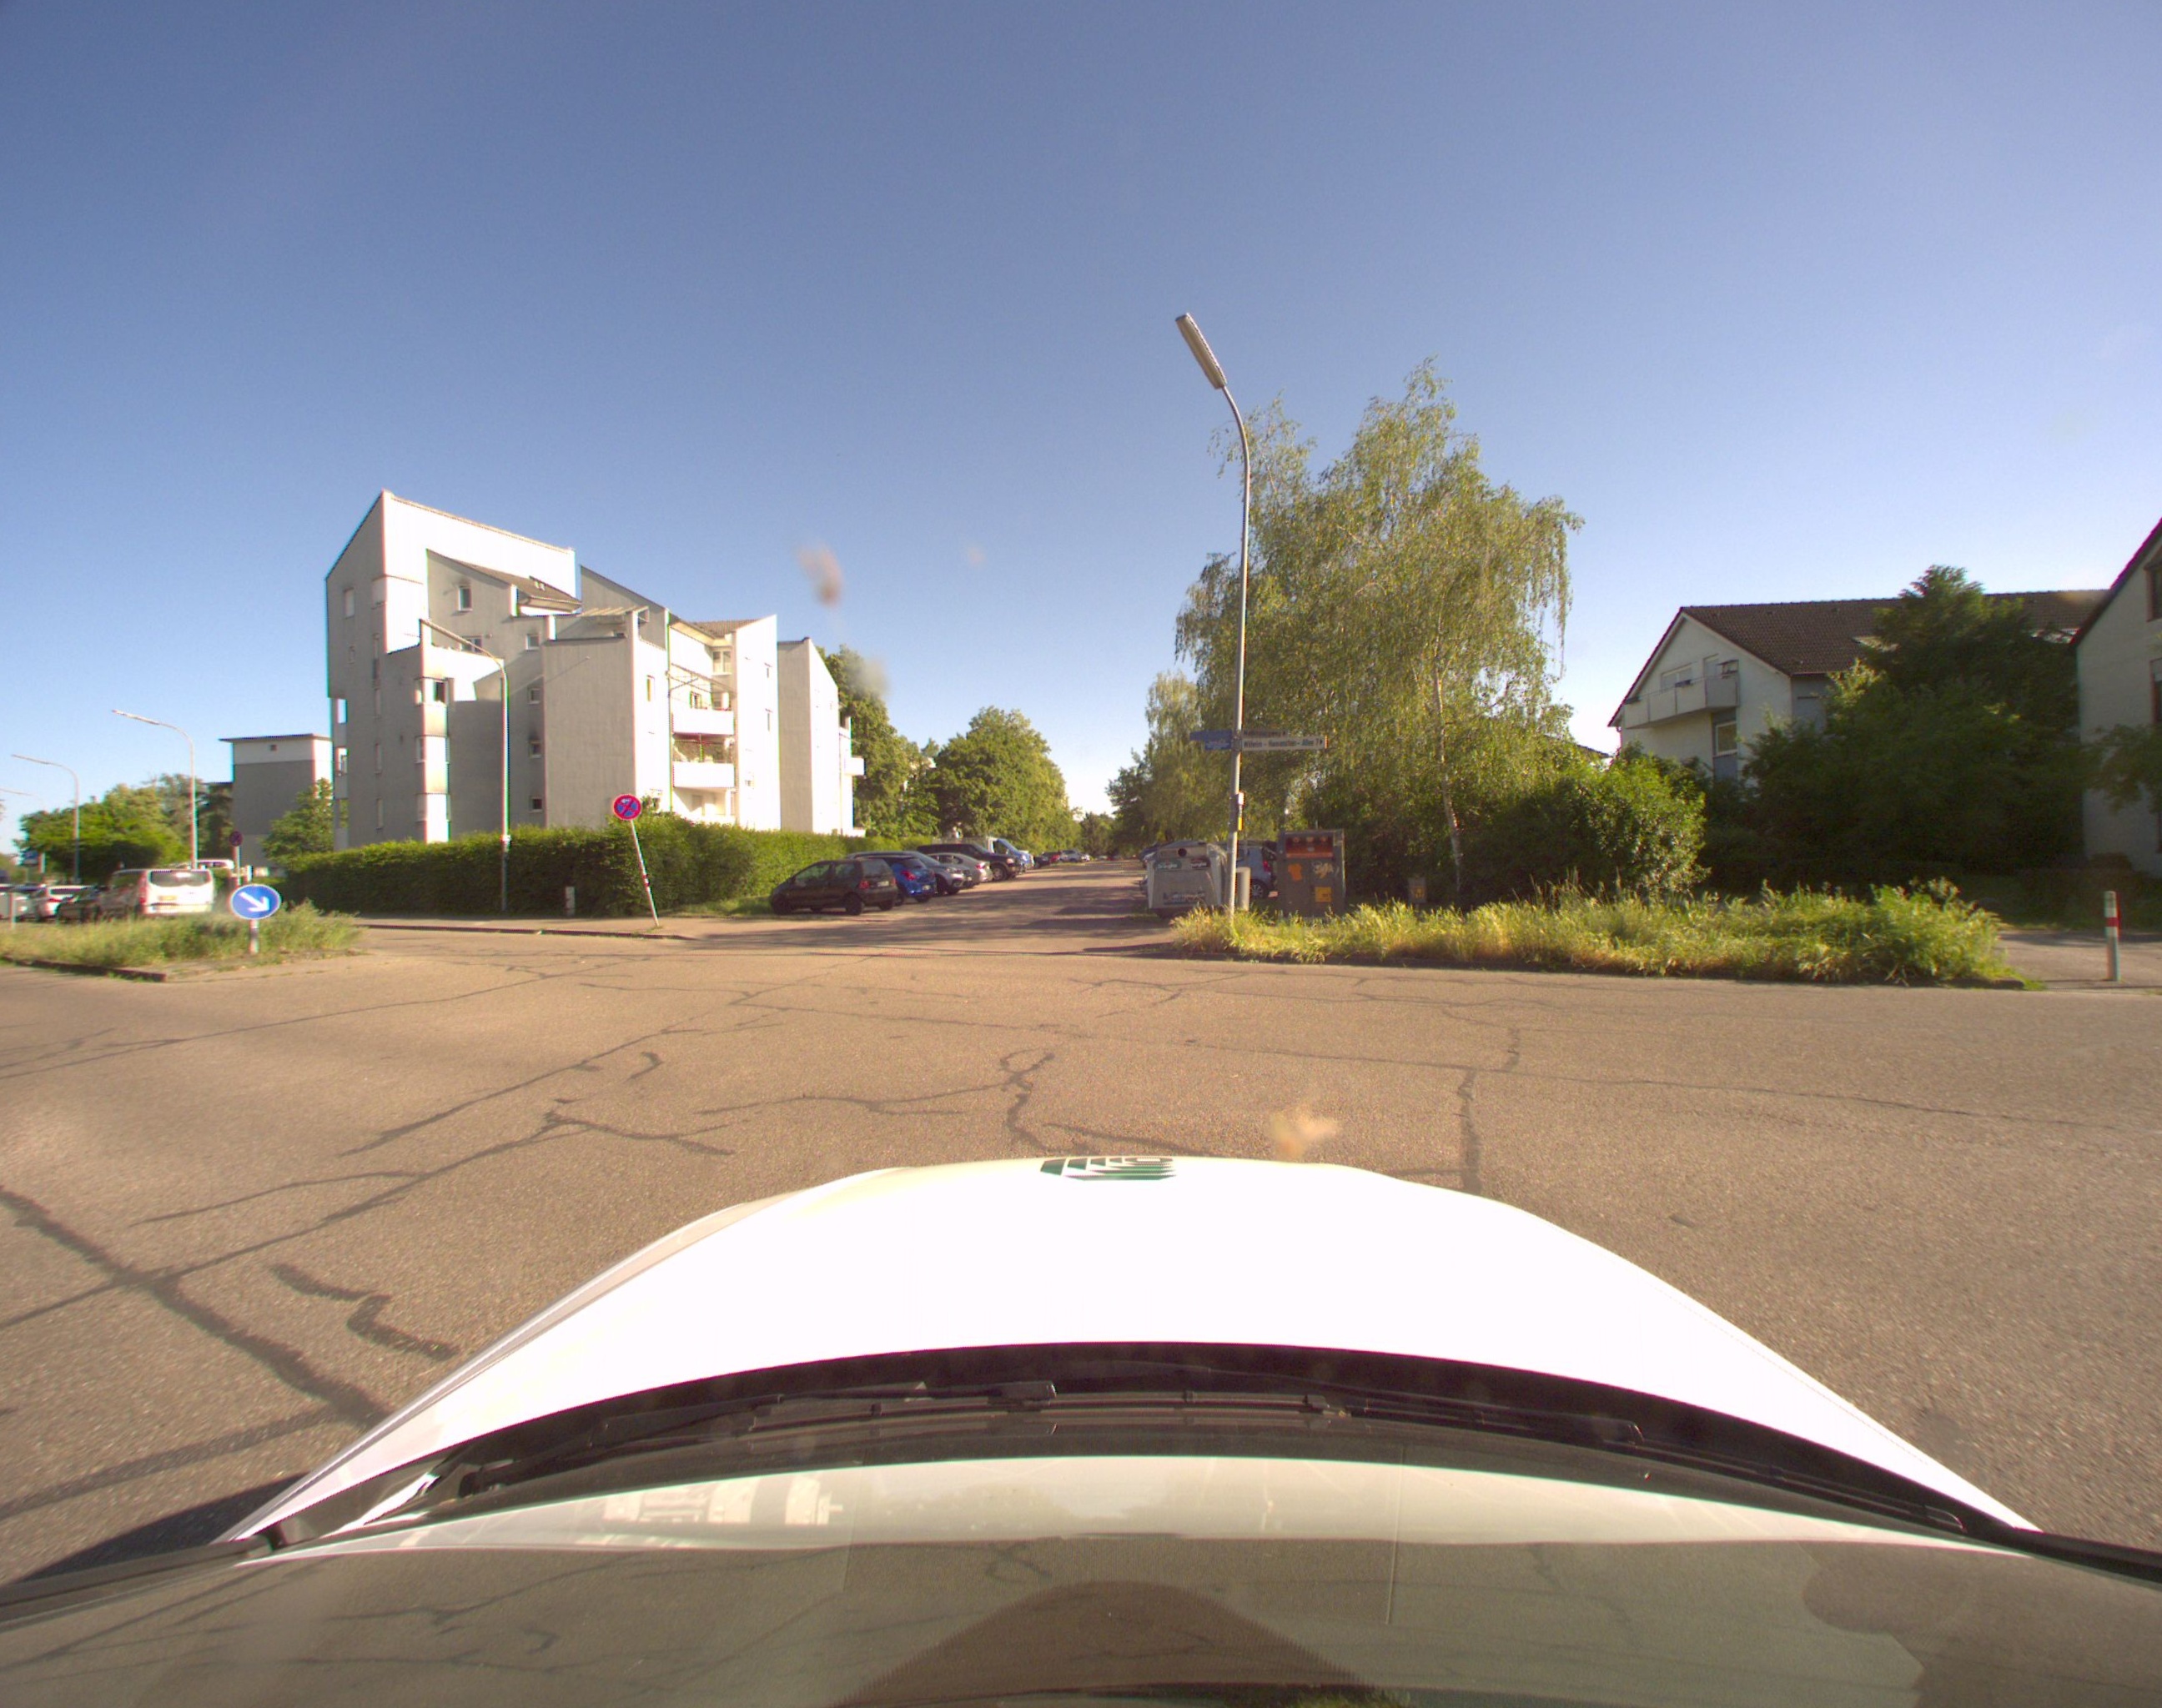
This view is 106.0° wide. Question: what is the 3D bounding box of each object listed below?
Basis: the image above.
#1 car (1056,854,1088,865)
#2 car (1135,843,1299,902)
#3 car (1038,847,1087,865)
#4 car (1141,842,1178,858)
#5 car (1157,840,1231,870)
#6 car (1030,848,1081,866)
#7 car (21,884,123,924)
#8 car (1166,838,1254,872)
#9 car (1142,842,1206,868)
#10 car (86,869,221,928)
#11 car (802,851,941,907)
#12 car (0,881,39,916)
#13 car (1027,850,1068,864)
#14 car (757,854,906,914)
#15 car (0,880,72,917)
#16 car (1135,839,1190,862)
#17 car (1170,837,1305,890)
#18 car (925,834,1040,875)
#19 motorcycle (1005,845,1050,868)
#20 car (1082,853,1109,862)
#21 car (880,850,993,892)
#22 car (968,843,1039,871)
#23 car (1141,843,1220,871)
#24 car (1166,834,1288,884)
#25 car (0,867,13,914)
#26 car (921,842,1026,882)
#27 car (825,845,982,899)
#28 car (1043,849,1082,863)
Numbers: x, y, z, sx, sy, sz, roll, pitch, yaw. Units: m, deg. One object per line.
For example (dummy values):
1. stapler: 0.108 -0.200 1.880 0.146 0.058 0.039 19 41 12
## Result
1. car: -1.171 0.689 106.045 3.923 1.334 1.849 -2 0 3
2. car: 3.578 0.466 21.288 4.021 1.438 1.642 0 0 17
3. car: -1.554 0.159 68.573 3.923 1.334 1.849 -2 0 3
4. car: 8.570 -0.460 88.569 3.965 1.708 1.801 -1 0 7
5. car: 6.314 0.062 45.567 3.965 1.585 1.801 -1 0 7
6. car: -2.014 0.212 65.443 3.923 1.334 1.849 -2 0 3
7. car: -42.070 2.048 33.944 4.319 1.488 1.928 -2 -1 29
8. car: 6.060 0.038 38.316 3.963 1.503 1.953 -1 0 9
9. car: 5.906 0.062 51.656 3.965 1.585 1.801 -1 0 7
10. car: -32.948 1.569 28.924 4.891 1.912 2.012 -2 -1 27
11. car: -6.288 0.747 24.578 3.651 1.496 1.659 -2 0 17
12. car: -54.739 2.281 41.147 4.319 1.666 1.928 -2 -1 29
13. car: -3.392 0.327 83.090 3.923 1.334 1.849 -2 0 3
14. car: -6.745 0.790 22.078 3.492 1.466 1.713 -1 1 21
15. car: -47.178 1.994 36.383 4.319 1.488 1.928 -2 -1 29
16. car: 6.028 -0.240 60.081 3.965 1.585 1.801 -1 0 7
17. car: 5.062 0.287 26.679 4.041 1.603 1.790 -1 1 -2
18. car: -5.673 0.016 47.455 6.232 2.147 2.412 -2 0 2
19. motorcycle: -3.932 0.200 59.842 3.175 1.596 0.925 -2 0 5
20. car: 2.055 0.509 115.151 3.629 1.212 1.849 -2 0 3
21. car: -5.712 0.650 32.486 4.128 1.455 1.620 -3 0 1
22. car: -5.268 0.214 55.735 4.501 1.771 1.850 -2 0 5
23. car: 5.213 0.152 42.611 3.965 1.401 1.801 -1 0 7
24. car: 5.251 0.147 29.601 4.093 1.706 1.789 -1 1 -3
25. car: -59.836 1.999 43.932 5.780 2.486 2.125 -2 -2 32
26. car: -5.058 0.366 38.495 4.495 1.771 1.852 -2 0 9
27. car: -6.168 0.621 28.545 4.962 1.654 1.789 -2 0 9
28. car: -1.946 0.198 86.193 3.923 1.334 1.849 -2 0 3
